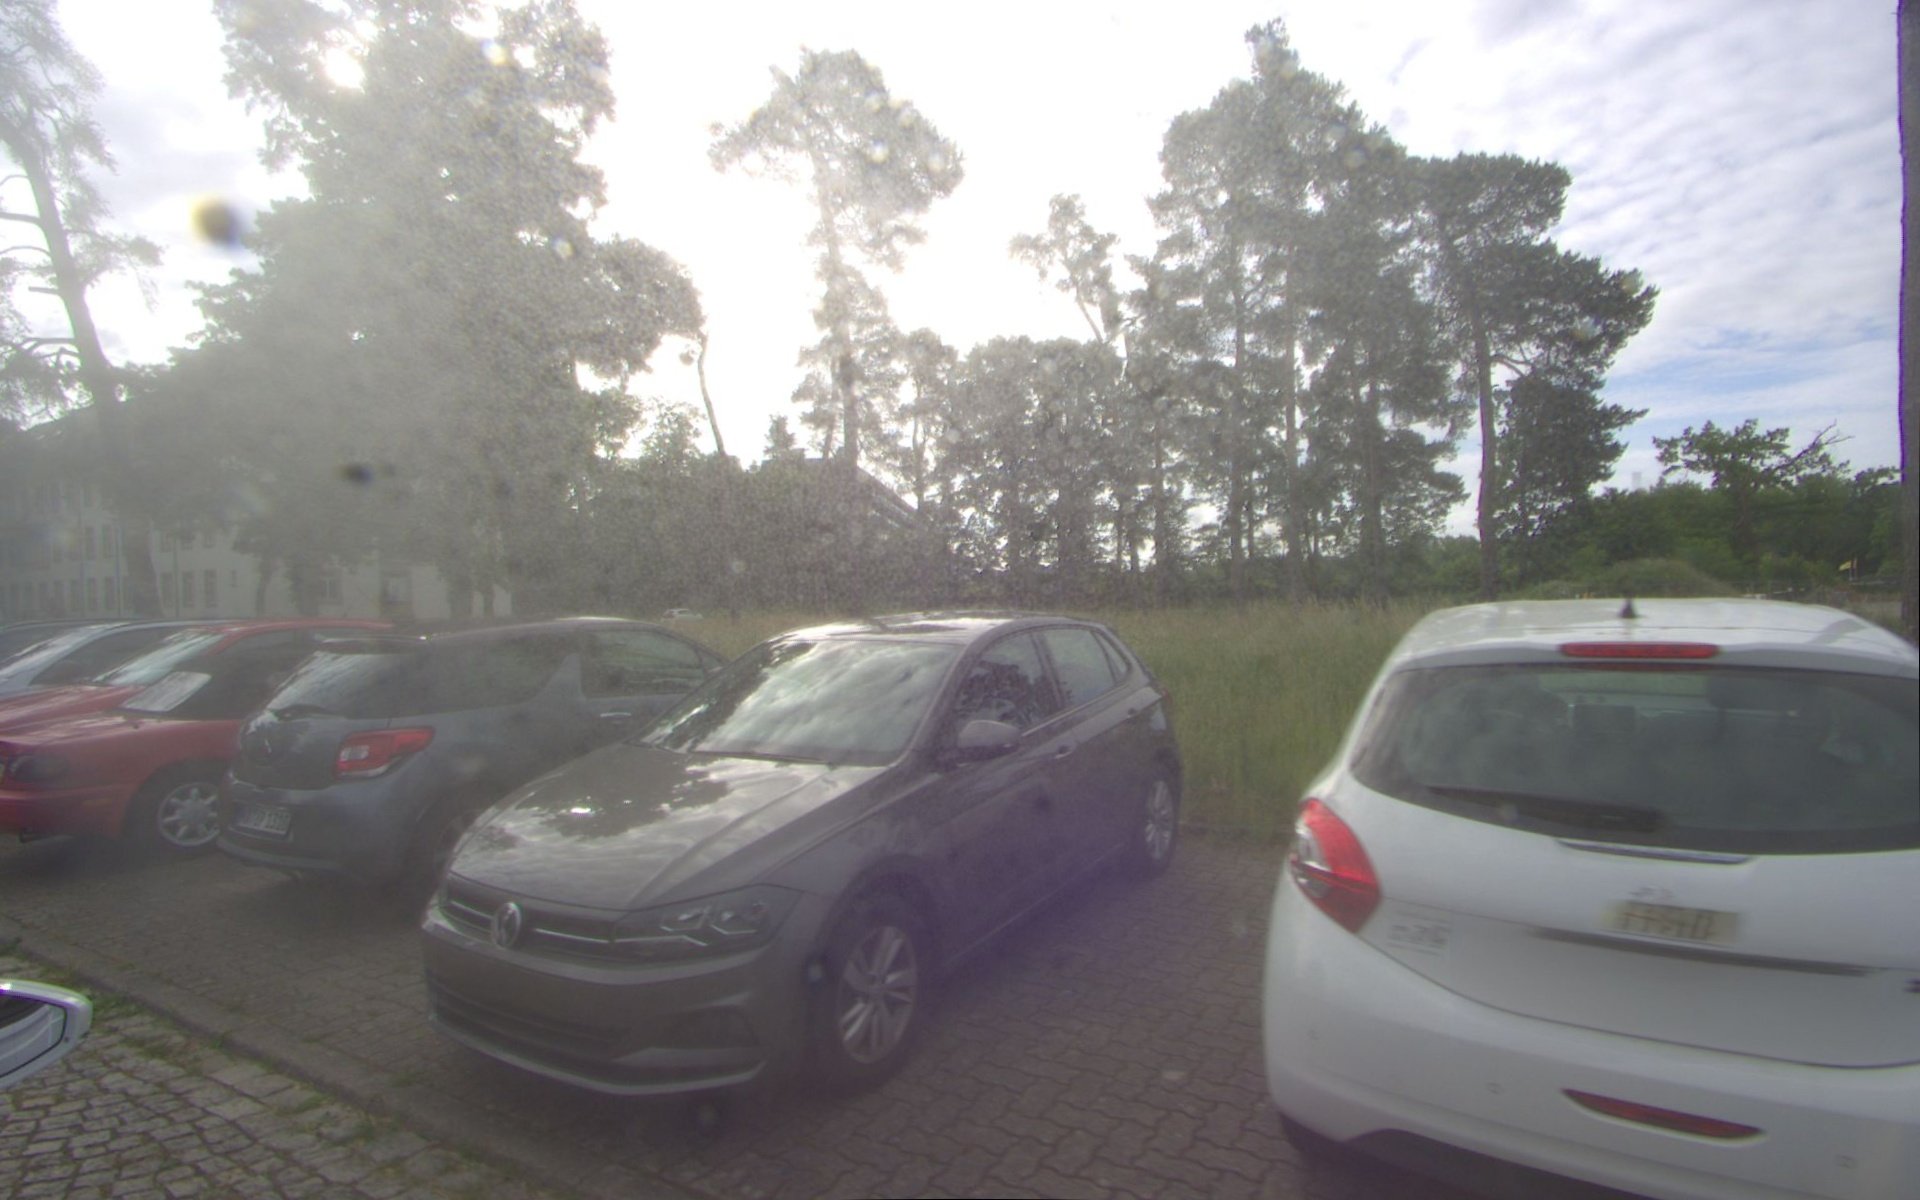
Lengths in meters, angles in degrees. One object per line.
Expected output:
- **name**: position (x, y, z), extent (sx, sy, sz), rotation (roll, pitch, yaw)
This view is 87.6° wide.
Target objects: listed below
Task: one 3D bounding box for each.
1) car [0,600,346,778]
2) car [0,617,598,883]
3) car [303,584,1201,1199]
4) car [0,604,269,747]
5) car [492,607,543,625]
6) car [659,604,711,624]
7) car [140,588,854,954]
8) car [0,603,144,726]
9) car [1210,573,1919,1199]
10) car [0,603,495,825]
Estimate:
- **car**: position (-8.872, 0.811, 9.995), extent (1.839, 1.436, 4.422), rotation (-1, 2, 22)
- **car**: position (-4.887, 0.855, 7.536), extent (1.731, 1.253, 3.855), rotation (-1, 2, 29)
- **car**: position (-0.366, 0.734, 4.440), extent (1.732, 1.492, 3.854), rotation (0, 2, 31)
- **car**: position (-11.027, 0.865, 11.552), extent (1.842, 1.436, 4.674), rotation (-1, 2, 28)
- **car**: position (-39.588, 1.435, 89.593), extent (1.627, 1.439, 3.940), rotation (-1, -3, 33)
- **car**: position (-21.927, 1.152, 80.004), extent (1.627, 1.439, 3.940), rotation (-1, -3, 33)
- **car**: position (-2.525, 0.734, 6.445), extent (1.731, 1.492, 3.855), rotation (0, 2, 29)
- **car**: position (-13.133, 0.870, 12.737), extent (1.619, 1.497, 3.917), rotation (0, 2, 32)
- **car**: position (2.320, 0.698, 3.460), extent (1.733, 1.492, 3.853), rotation (0, 2, 32)
- **car**: position (-6.771, 0.833, 9.159), extent (1.843, 1.436, 4.253), rotation (0, 2, 30)
